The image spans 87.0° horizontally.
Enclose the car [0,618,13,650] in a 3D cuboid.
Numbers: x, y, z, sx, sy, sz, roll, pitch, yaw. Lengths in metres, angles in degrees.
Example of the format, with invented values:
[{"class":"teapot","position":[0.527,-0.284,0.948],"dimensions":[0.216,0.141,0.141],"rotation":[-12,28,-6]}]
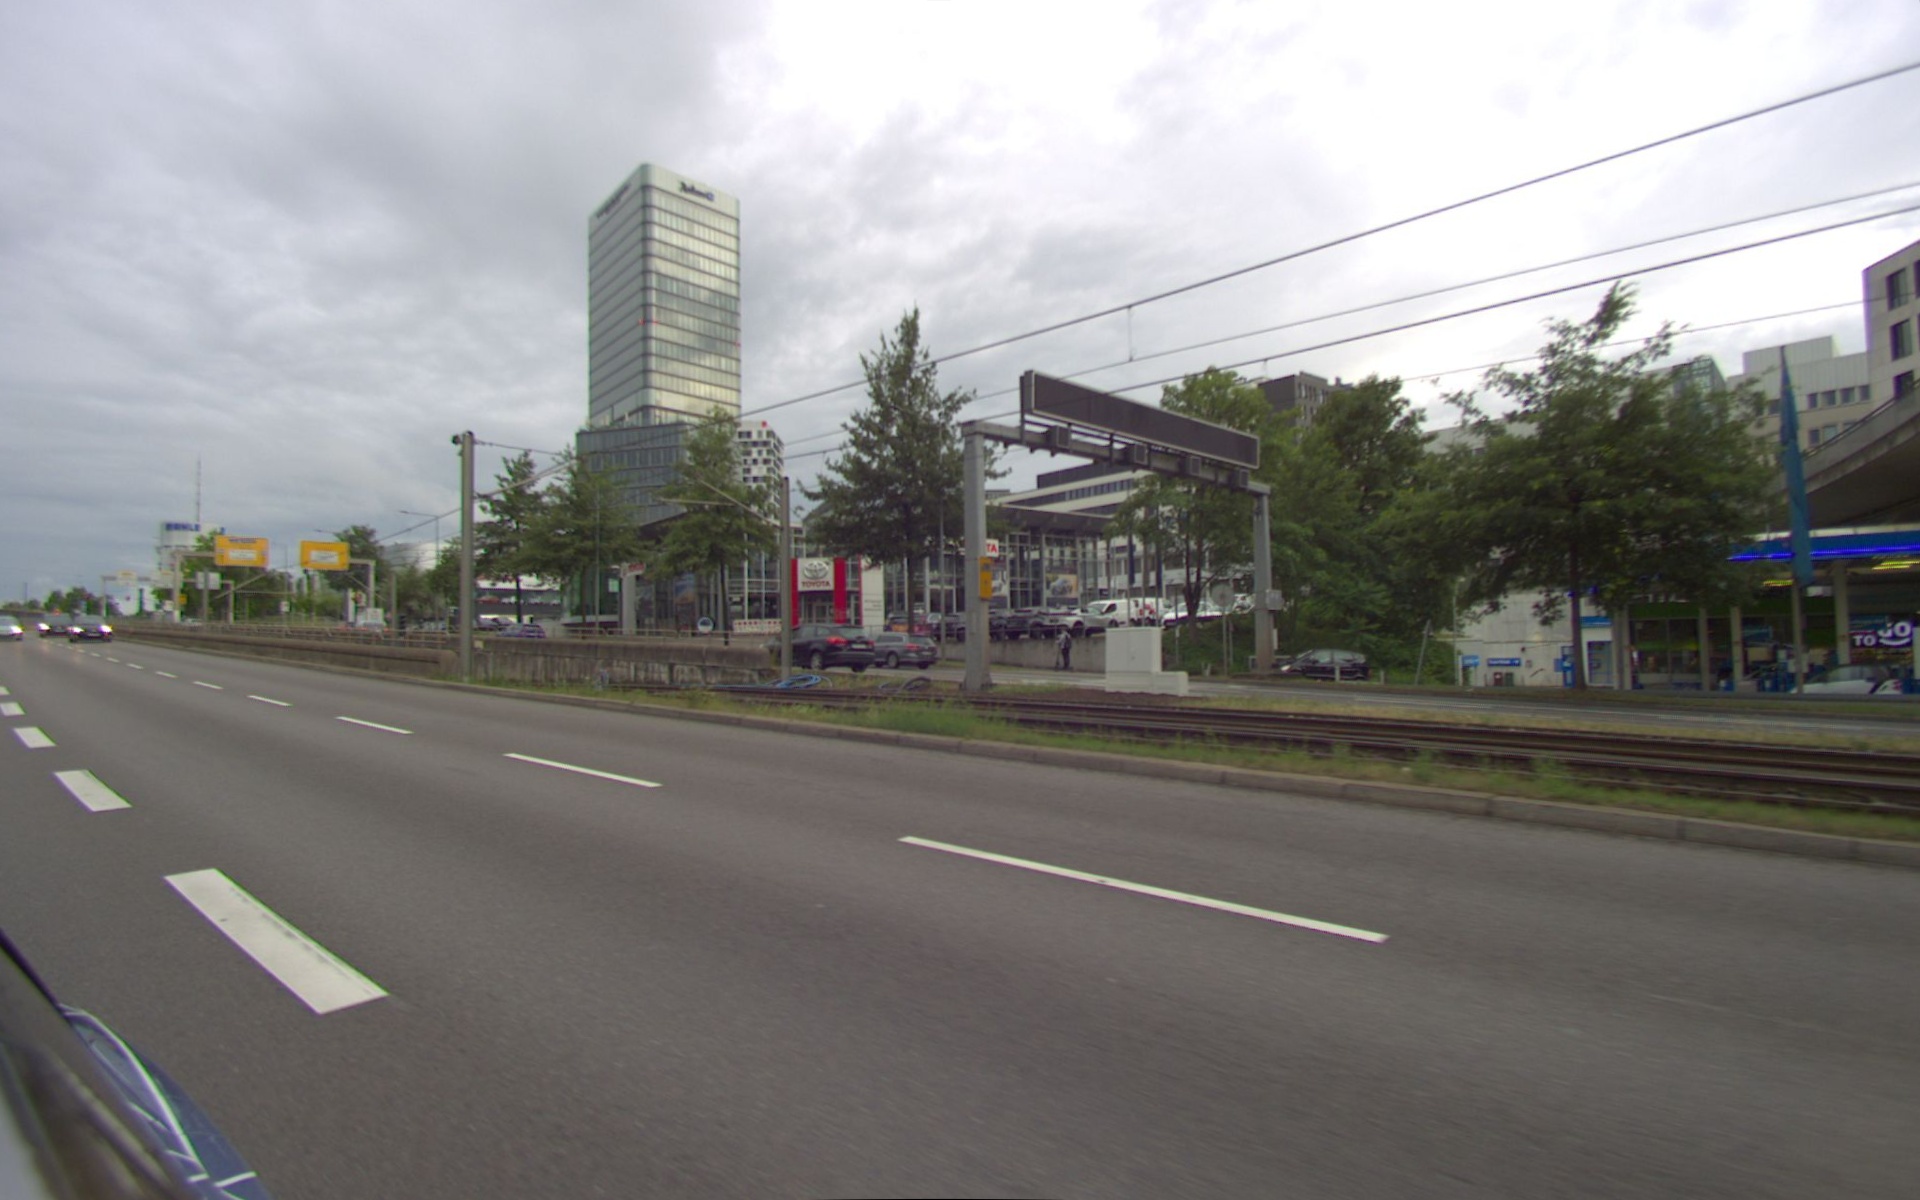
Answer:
[{"class":"car","position":[-59.555,2.106,62.365],"dimensions":[1.768,1.882,4.382],"rotation":[0,0,-43]}]

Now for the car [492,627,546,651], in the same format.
[{"class":"car","position":[-27.179,2.394,62.328],"dimensions":[1.745,1.319,4.115],"rotation":[0,0,-43]}]

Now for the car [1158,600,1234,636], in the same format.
[{"class":"car","position":[12.719,0.936,54.433],"dimensions":[4.300,1.828,1.887],"rotation":[0,0,-42]}]

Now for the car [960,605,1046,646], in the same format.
[{"class":"car","position":[2.241,1.261,51.604],"dimensions":[4.300,1.962,1.887],"rotation":[0,0,-42]}]

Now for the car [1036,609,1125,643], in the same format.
[{"class":"car","position":[5.777,1.203,48.292],"dimensions":[4.300,1.515,1.887],"rotation":[0,0,-42]}]

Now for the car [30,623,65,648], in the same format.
[{"class":"car","position":[-62.912,2.416,69.760],"dimensions":[1.768,1.556,4.382],"rotation":[0,0,-43]}]

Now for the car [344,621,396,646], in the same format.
[{"class":"car","position":[-37.774,2.120,64.738],"dimensions":[1.769,1.411,4.879],"rotation":[0,0,-44]}]

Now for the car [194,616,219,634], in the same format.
[{"class":"car","position":[-83.644,2.773,112.359],"dimensions":[1.768,1.882,4.382],"rotation":[0,0,-43]}]

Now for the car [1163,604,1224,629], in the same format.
[{"class":"car","position":[14.000,0.965,60.563],"dimensions":[3.925,1.383,1.661],"rotation":[0,0,-42]}]

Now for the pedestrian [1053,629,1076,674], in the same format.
[{"class":"pedestrian","position":[4.345,2.132,41.977],"dimensions":[0.678,1.809,0.637],"rotation":[0,0,-44]}]

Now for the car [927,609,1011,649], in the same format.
[{"class":"car","position":[0.503,1.500,53.251],"dimensions":[4.300,1.962,1.887],"rotation":[0,0,-42]}]

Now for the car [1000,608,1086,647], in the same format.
[{"class":"car","position":[4.122,1.309,49.887],"dimensions":[4.136,1.785,1.887],"rotation":[0,0,-42]}]

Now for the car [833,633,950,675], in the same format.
[{"class":"car","position":[-2.793,2.146,40.725],"dimensions":[4.563,1.540,2.027],"rotation":[-2,-2,40]}]

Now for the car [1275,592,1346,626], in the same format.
[{"class":"car","position":[19.242,0.453,55.476],"dimensions":[4.300,1.784,1.846],"rotation":[0,0,-42]}]

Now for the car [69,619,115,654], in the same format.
[{"class":"car","position":[-49.033,2.021,57.141],"dimensions":[1.768,1.882,4.382],"rotation":[0,0,-43]}]

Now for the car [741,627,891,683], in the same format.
[{"class":"car","position":[-4.480,1.651,31.088],"dimensions":[4.759,1.550,2.025],"rotation":[-3,-2,43]}]

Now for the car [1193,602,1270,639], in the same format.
[{"class":"car","position":[14.238,1.059,52.998],"dimensions":[4.300,1.828,1.887],"rotation":[0,0,-42]}]

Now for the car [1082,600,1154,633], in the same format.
[{"class":"car","position":[9.259,0.926,59.111],"dimensions":[4.300,1.828,1.887],"rotation":[0,0,-42]}]

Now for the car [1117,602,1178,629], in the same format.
[{"class":"car","position":[11.751,0.927,63.246],"dimensions":[3.861,1.605,1.804],"rotation":[0,0,-42]}]
